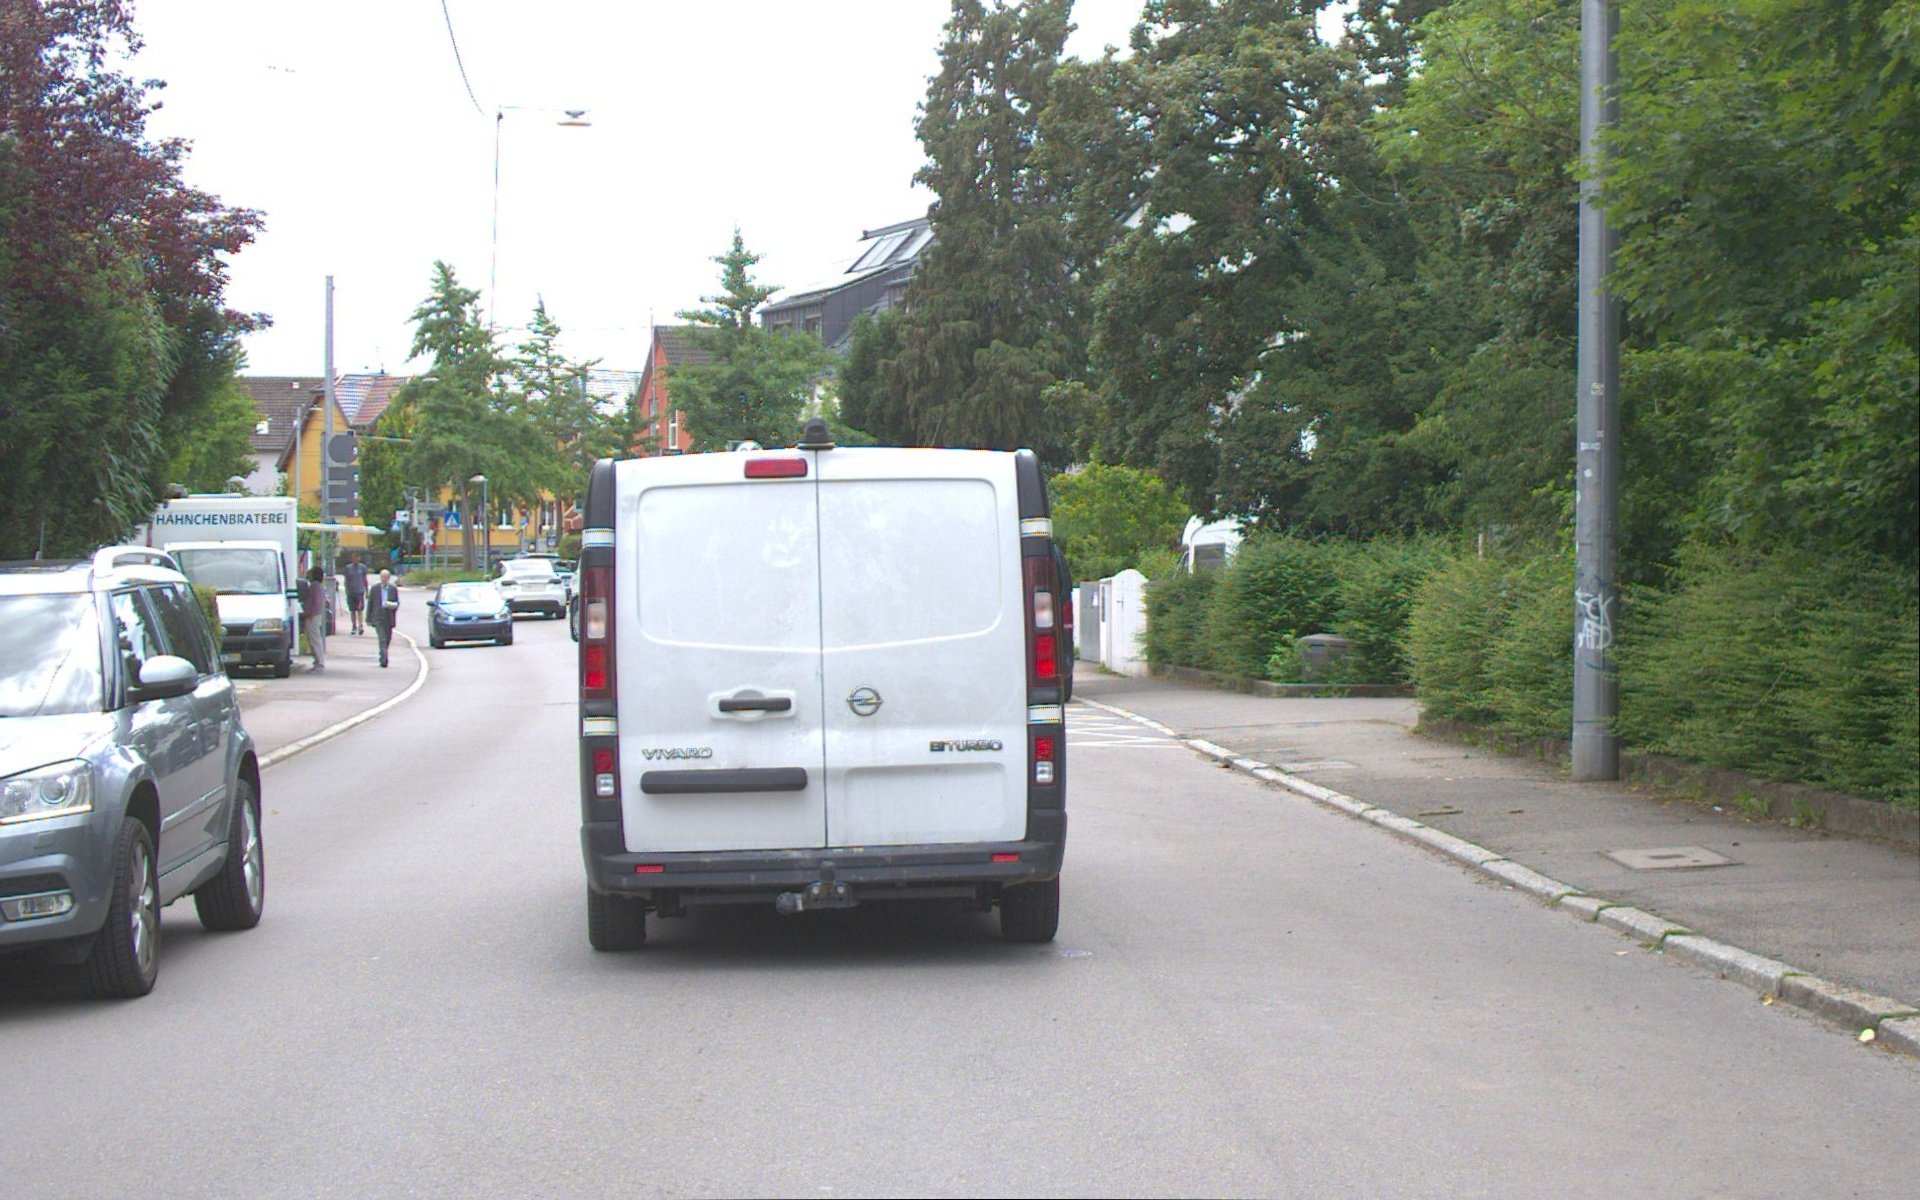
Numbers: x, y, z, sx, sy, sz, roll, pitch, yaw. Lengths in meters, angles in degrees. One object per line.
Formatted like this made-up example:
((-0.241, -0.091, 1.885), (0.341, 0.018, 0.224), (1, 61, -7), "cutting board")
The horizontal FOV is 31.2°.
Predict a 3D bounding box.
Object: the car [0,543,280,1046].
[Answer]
((-3.904, 0.677, 13.415), (1.840, 1.650, 4.139), (-3, 0, -4), "car")

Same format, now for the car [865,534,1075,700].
((0.041, 0.179, 40.909), (1.908, 1.842, 5.159), (0, 0, -6), "car")

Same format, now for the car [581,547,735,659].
((-5.267, 0.027, 59.550), (1.993, 1.842, 4.001), (-1, 1, -15), "car")

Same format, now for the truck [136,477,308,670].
((-11.519, -0.406, 53.878), (2.472, 2.831, 6.709), (0, 0, -11), "truck")

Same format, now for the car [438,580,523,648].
((-10.776, 0.293, 77.475), (1.693, 1.427, 3.928), (2, 0, -6), "car")

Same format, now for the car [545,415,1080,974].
((-0.715, 0.328, 14.691), (1.915, 1.996, 4.438), (-1, 0, -5), "car")

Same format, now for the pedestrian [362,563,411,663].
((-9.932, 0.219, 59.533), (0.722, 1.681, 1.109), (2, 0, -6), "pedestrian")

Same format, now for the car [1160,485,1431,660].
((5.445, -0.457, 56.652), (2.496, 2.673, 5.188), (2, 0, -18), "car")

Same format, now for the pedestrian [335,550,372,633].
((-14.399, -0.197, 81.636), (0.733, 1.939, 1.218), (2, 0, -6), "pedestrian")

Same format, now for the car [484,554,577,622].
((-11.816, -0.353, 94.377), (1.993, 1.776, 4.001), (-1, 1, -15), "car")

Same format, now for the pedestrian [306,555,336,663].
((-10.128, 0.135, 54.470), (0.401, 1.689, 0.597), (2, 0, -12), "pedestrian")
